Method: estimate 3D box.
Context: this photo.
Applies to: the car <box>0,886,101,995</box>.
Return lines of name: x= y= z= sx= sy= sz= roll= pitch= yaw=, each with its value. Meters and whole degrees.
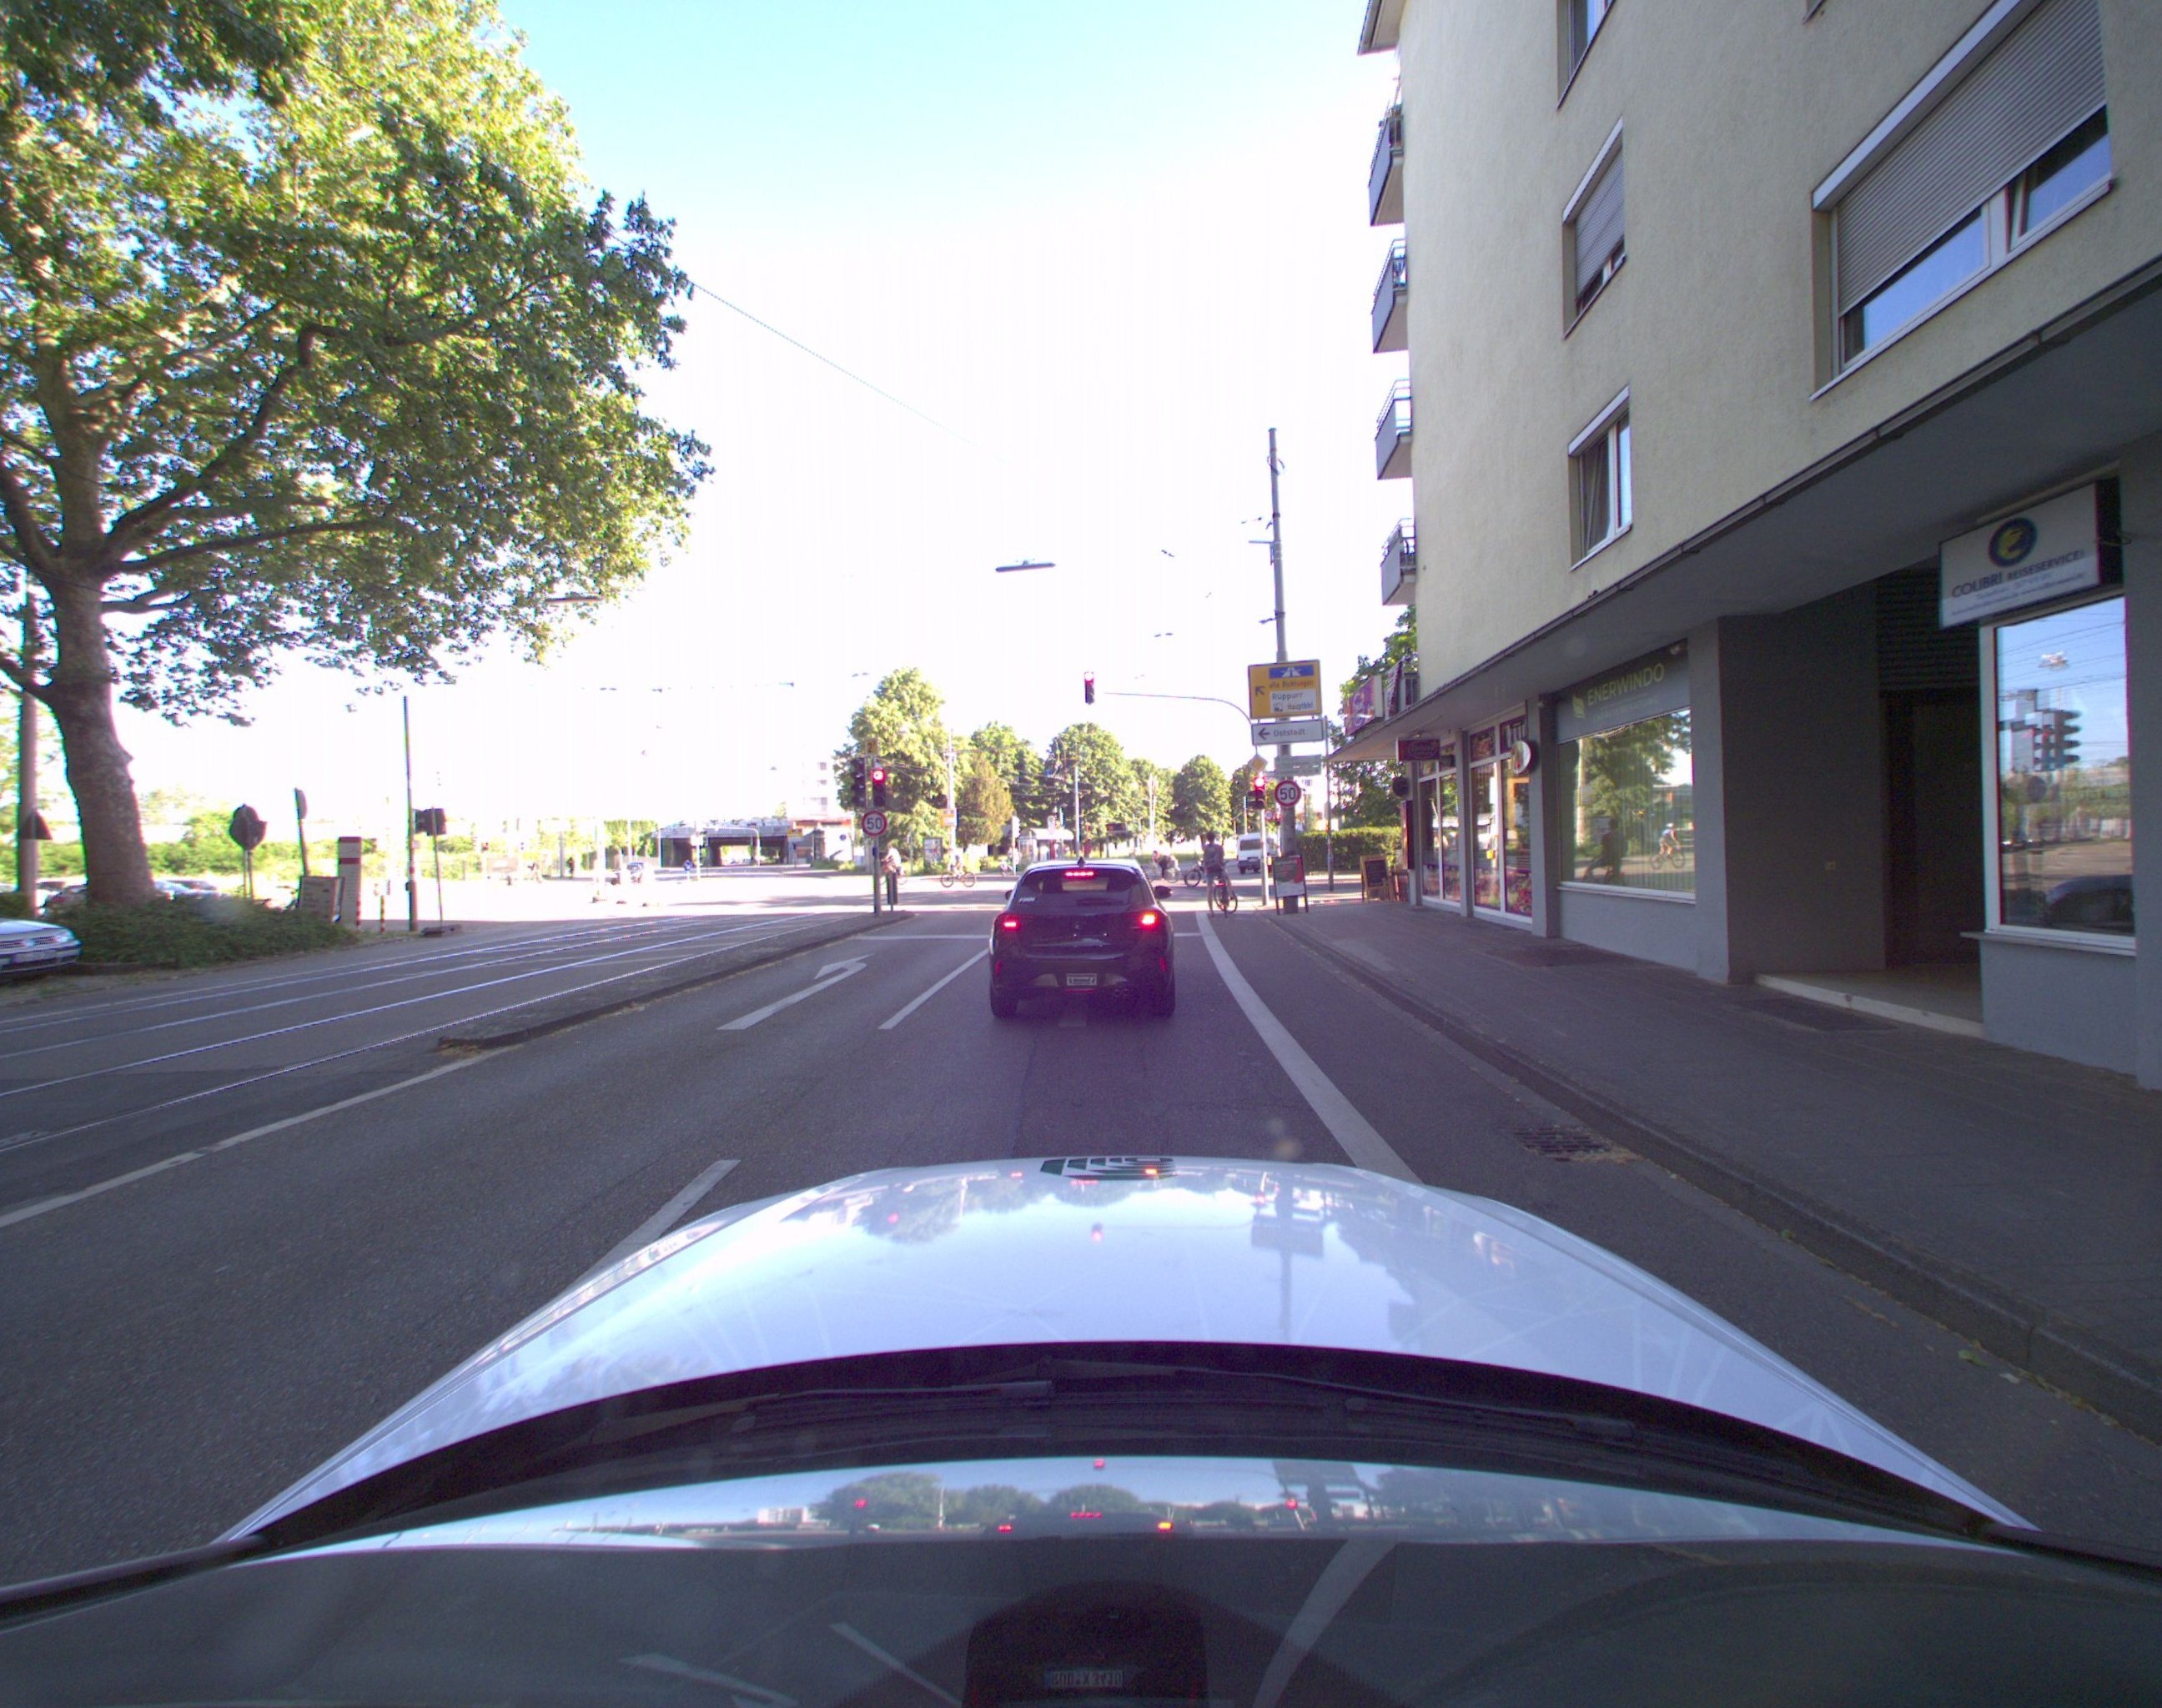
car: x=-16.953 y=1.222 z=11.370 sx=4.497 sy=1.429 sz=1.676 roll=0 pitch=0 yaw=0

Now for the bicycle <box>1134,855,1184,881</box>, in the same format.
bicycle: x=3.350 y=0.607 z=35.072 sx=2.037 sy=1.094 sz=0.596 roll=-2 pitch=0 yaw=22

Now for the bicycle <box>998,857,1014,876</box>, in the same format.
bicycle: x=-4.298 y=0.689 z=46.744 sx=0.603 sy=1.031 sz=1.983 roll=-2 pitch=0 yaw=2

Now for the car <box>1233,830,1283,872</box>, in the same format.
car: x=10.152 y=-0.202 z=46.387 sx=2.046 sy=2.248 sz=4.912 roll=-2 pitch=0 yaw=20

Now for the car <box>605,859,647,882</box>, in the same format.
car: x=-31.278 y=1.131 z=56.110 sx=1.830 sy=1.519 sz=3.870 roll=0 pitch=0 yaw=-18

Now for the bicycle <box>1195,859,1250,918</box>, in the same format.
bicycle: x=3.070 y=0.729 z=17.922 sx=0.857 sy=1.153 sz=2.172 roll=-2 pitch=0 yaw=1

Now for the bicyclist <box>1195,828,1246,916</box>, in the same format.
bicyclist: x=3.056 y=0.379 z=17.902 sx=0.938 sy=1.851 sz=0.864 roll=-2 pitch=0 yaw=1

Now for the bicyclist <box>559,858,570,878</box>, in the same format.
bicyclist: x=-40.763 y=1.130 z=64.302 sx=0.639 sy=1.563 sz=0.825 roll=-2 pitch=0 yaw=-31

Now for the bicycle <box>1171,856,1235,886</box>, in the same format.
bicycle: x=4.585 y=0.628 z=30.625 sx=2.192 sy=1.033 sz=0.831 roll=-2 pitch=0 yaw=-11

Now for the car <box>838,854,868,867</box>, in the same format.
car: x=-33.696 y=0.961 z=120.471 sx=4.188 sy=1.805 sz=1.725 roll=-2 pitch=0 yaw=-19

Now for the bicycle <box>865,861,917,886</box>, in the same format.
bicycle: x=-9.106 y=0.932 z=39.075 sx=2.276 sy=1.084 sz=0.804 roll=-2 pitch=0 yaw=14

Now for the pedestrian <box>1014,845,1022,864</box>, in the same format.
pedestrian: x=-5.454 y=0.013 z=70.469 sx=0.633 sy=1.629 sz=0.573 roll=0 pitch=-1 yaw=9

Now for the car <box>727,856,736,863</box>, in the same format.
car: x=-95.761 y=1.600 z=222.972 sx=2.223 sy=1.823 sz=4.114 roll=-2 pitch=0 yaw=-24

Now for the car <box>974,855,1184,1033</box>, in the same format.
car: x=0.059 y=0.746 z=8.829 sx=1.720 sy=1.429 sz=4.189 roll=-1 pitch=0 yaw=2

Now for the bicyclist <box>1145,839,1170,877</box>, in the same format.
bicyclist: x=3.286 y=0.173 z=35.075 sx=0.853 sy=1.595 sz=0.653 roll=-2 pitch=0 yaw=22

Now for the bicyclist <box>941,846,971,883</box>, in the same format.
bicyclist: x=-5.365 y=0.443 z=34.990 sx=1.003 sy=1.570 sz=0.802 roll=-2 pitch=0 yaw=13

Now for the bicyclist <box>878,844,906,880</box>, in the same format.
bicyclist: x=-9.052 y=0.374 z=39.052 sx=0.920 sy=1.707 sz=0.878 roll=-2 pitch=0 yaw=14

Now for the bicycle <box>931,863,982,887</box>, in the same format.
bicycle: x=-5.346 y=0.899 z=34.979 sx=2.044 sy=0.984 sz=0.675 roll=-2 pitch=0 yaw=12

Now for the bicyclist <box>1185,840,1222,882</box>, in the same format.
bicyclist: x=4.588 y=0.243 z=30.617 sx=1.113 sy=1.520 sz=0.918 roll=-2 pitch=0 yaw=-11

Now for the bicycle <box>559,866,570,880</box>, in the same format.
bicycle: x=-40.769 y=1.504 z=64.280 sx=0.585 sy=1.060 sz=2.022 roll=-2 pitch=0 yaw=-30

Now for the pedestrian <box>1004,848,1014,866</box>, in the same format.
pedestrian: x=-6.199 y=0.261 z=70.454 sx=0.746 sy=1.629 sz=0.599 roll=0 pitch=-1 yaw=8
